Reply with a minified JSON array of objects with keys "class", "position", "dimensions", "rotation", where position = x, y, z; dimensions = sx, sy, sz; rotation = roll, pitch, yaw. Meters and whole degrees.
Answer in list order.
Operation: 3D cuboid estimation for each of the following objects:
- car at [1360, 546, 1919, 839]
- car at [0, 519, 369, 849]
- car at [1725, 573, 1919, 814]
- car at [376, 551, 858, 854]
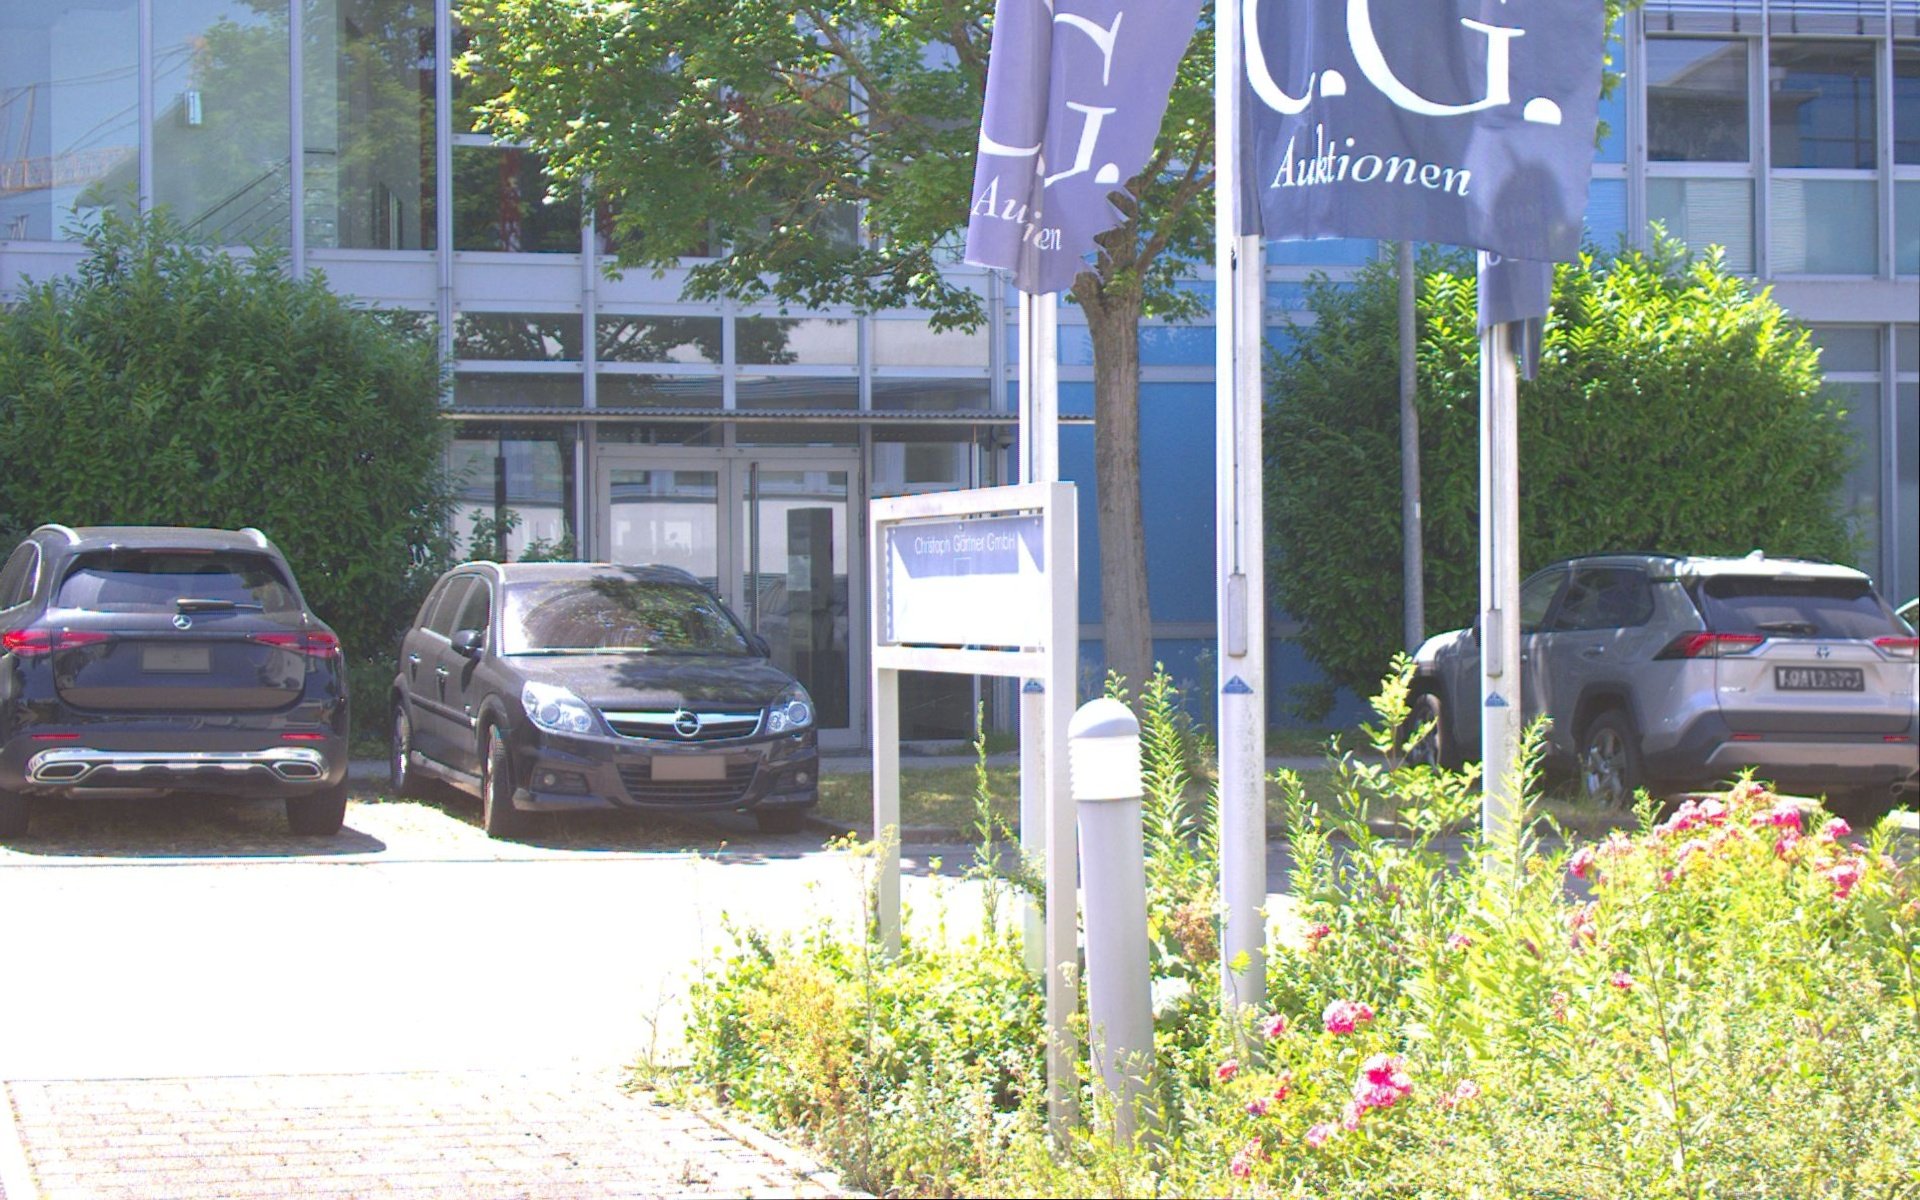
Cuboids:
[{"class":"car","position":[4.332,0.493,21.839],"dimensions":[1.819,1.614,4.341],"rotation":[0,2,-19]},{"class":"car","position":[-4.579,0.378,18.956],"dimensions":[1.926,1.605,3.988],"rotation":[1,1,-19]},{"class":"car","position":[6.895,0.629,22.210],"dimensions":[1.735,1.486,4.341],"rotation":[1,1,-19]},{"class":"car","position":[-2.080,0.486,19.624],"dimensions":[1.769,1.477,4.260],"rotation":[0,2,-19]}]
